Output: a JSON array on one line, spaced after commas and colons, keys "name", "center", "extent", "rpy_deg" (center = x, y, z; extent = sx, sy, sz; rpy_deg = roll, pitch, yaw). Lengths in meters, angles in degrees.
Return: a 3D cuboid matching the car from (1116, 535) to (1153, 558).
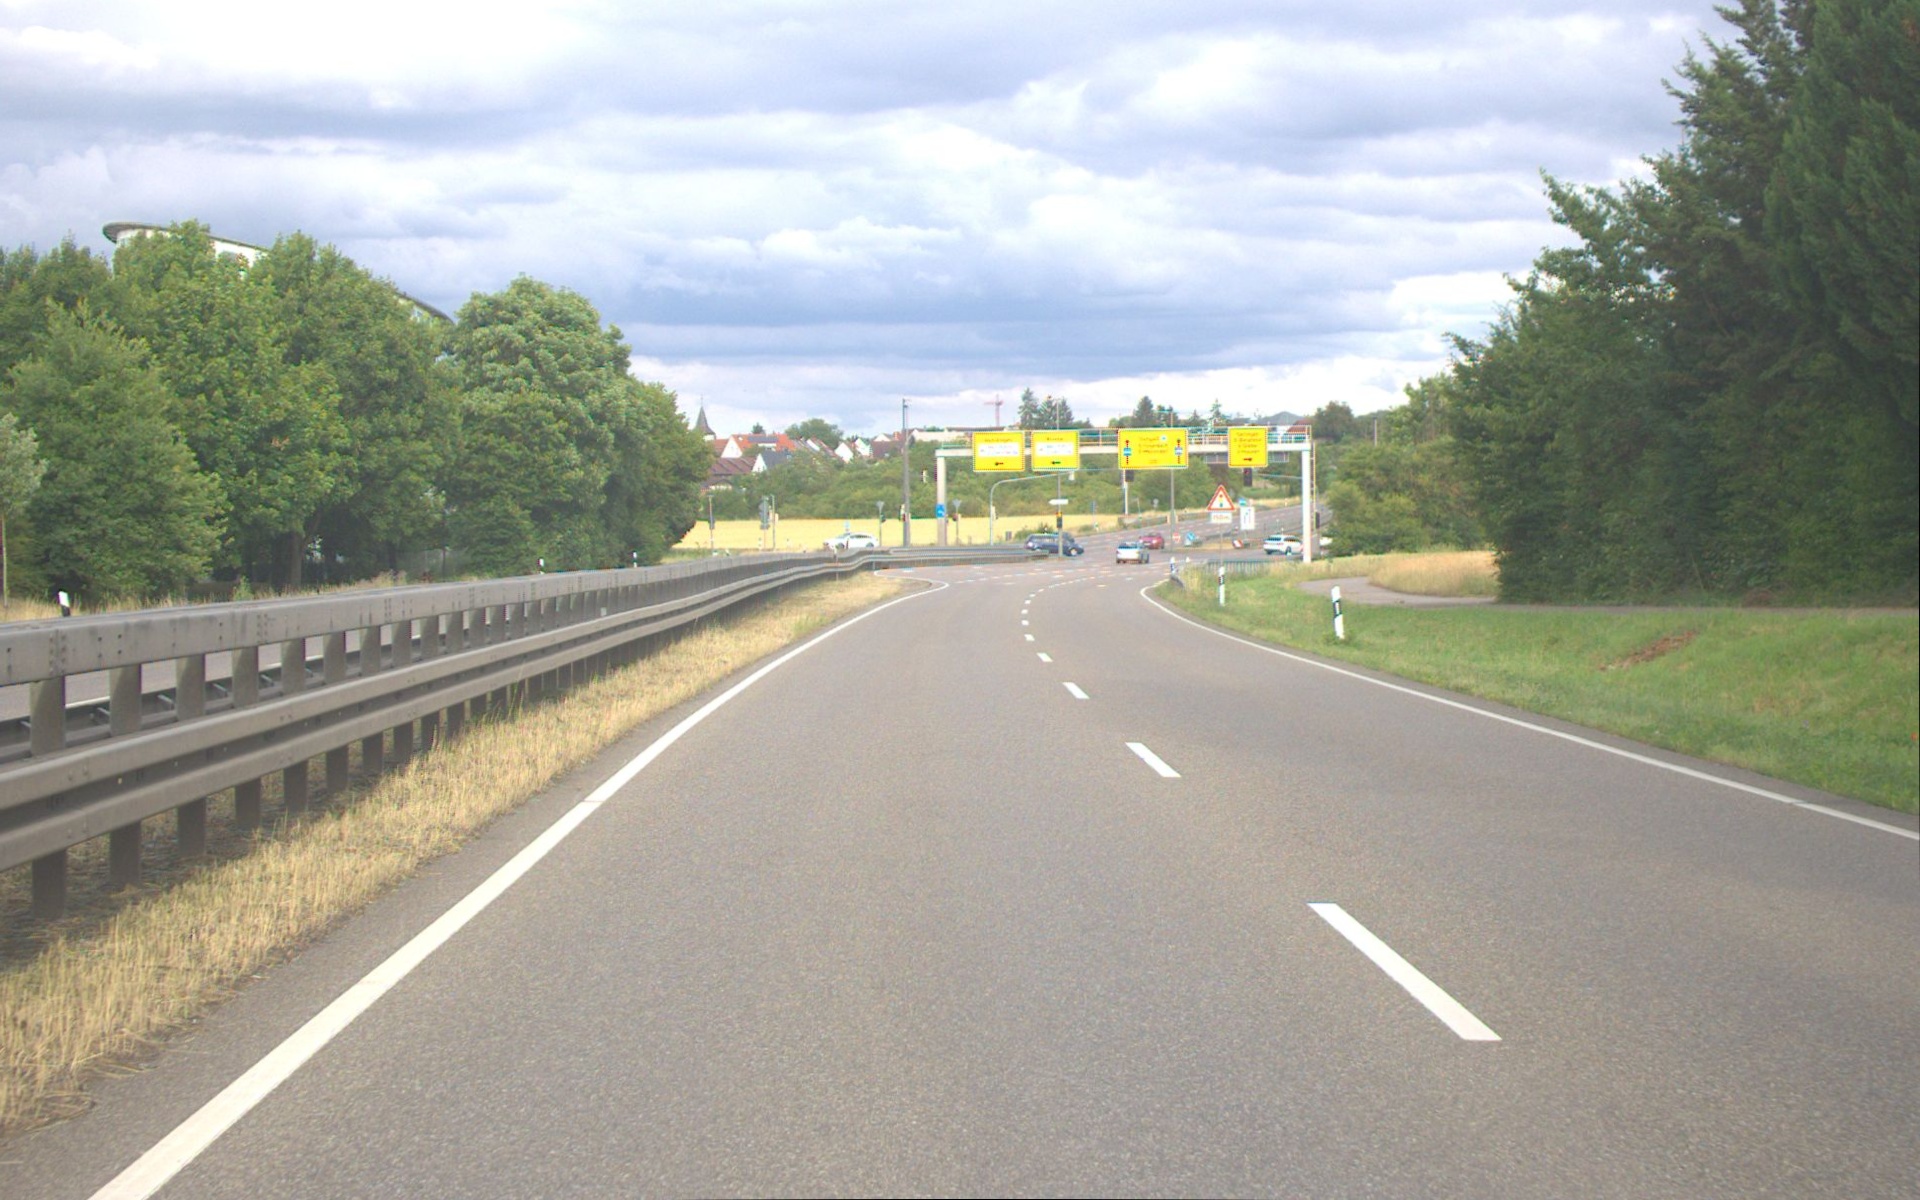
[{"name": "car", "center": [11.769, -3.626, 231.926], "extent": [1.799, 1.551, 3.998], "rpy_deg": [0, 1, 13]}]
